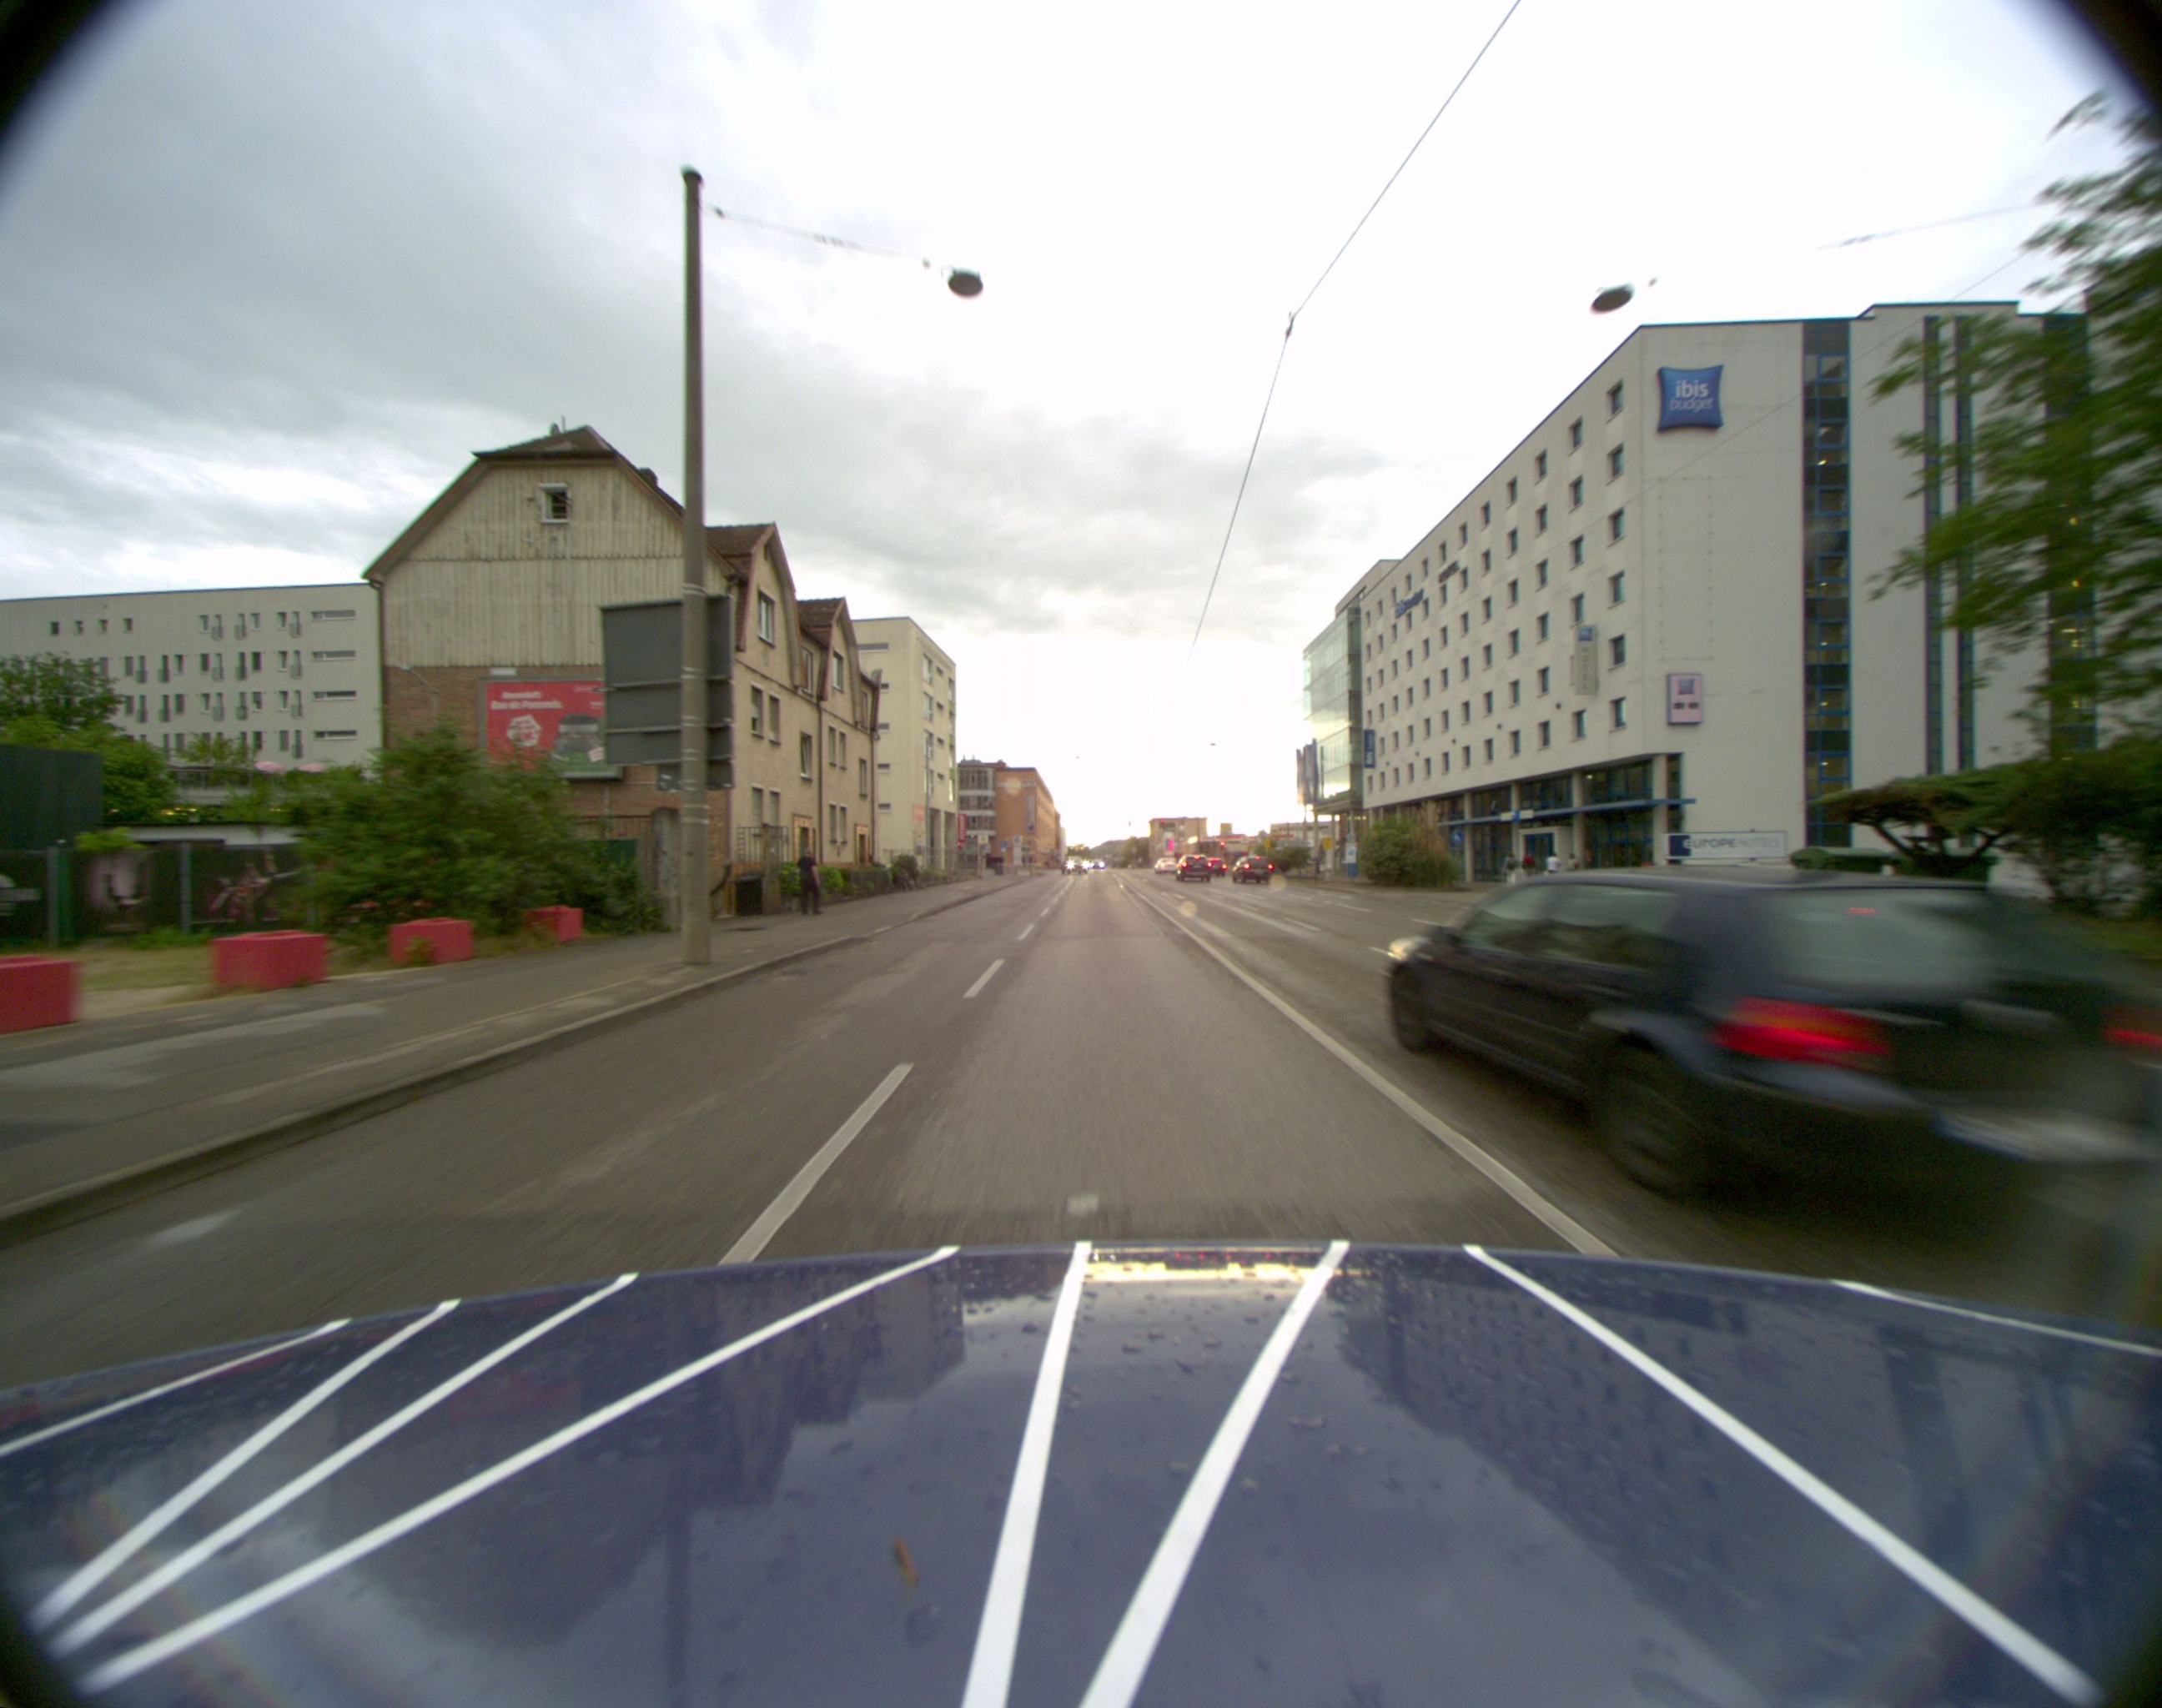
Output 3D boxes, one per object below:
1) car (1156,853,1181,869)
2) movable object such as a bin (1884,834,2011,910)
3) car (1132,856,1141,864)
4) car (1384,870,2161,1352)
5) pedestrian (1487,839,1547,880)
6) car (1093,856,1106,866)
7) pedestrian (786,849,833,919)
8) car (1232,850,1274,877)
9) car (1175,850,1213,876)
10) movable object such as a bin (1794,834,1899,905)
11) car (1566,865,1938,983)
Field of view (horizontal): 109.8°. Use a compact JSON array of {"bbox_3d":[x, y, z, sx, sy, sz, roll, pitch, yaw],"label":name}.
[{"bbox_3d":[8.066,0.615,70.264,1.822,1.379,4.963,0,0,0],"label":"car"},{"bbox_3d":[18.127,0.353,15.944,1.392,1.482,0.952,2,2,12],"label":"movable object such as a bin"},{"bbox_3d":[13.061,1.388,178.677,1.913,1.622,4.210,-1,0,1],"label":"car"},{"bbox_3d":[3.310,0.881,4.377,1.663,1.477,3.820,0,0,1],"label":"car"},{"bbox_3d":[19.297,0.260,33.706,1.996,1.710,1.698,-1,-1,20],"label":"pedestrian"},{"bbox_3d":[2.953,1.056,120.147,1.964,1.516,4.262,-2,0,1],"label":"car"},{"bbox_3d":[-7.164,0.770,20.078,0.914,1.754,0.766,-3,2,-7],"label":"pedestrian"},{"bbox_3d":[10.509,0.585,46.665,1.712,1.557,4.035,2,-1,1],"label":"car"},{"bbox_3d":[7.210,0.589,48.909,1.760,1.546,4.451,2,-1,0],"label":"car"},{"bbox_3d":[16.816,0.351,16.727,1.394,1.481,0.951,1,-2,-5],"label":"movable object such as a bin"},{"bbox_3d":[9.265,0.852,11.117,1.625,1.316,4.447,1,0,2],"label":"car"}]
